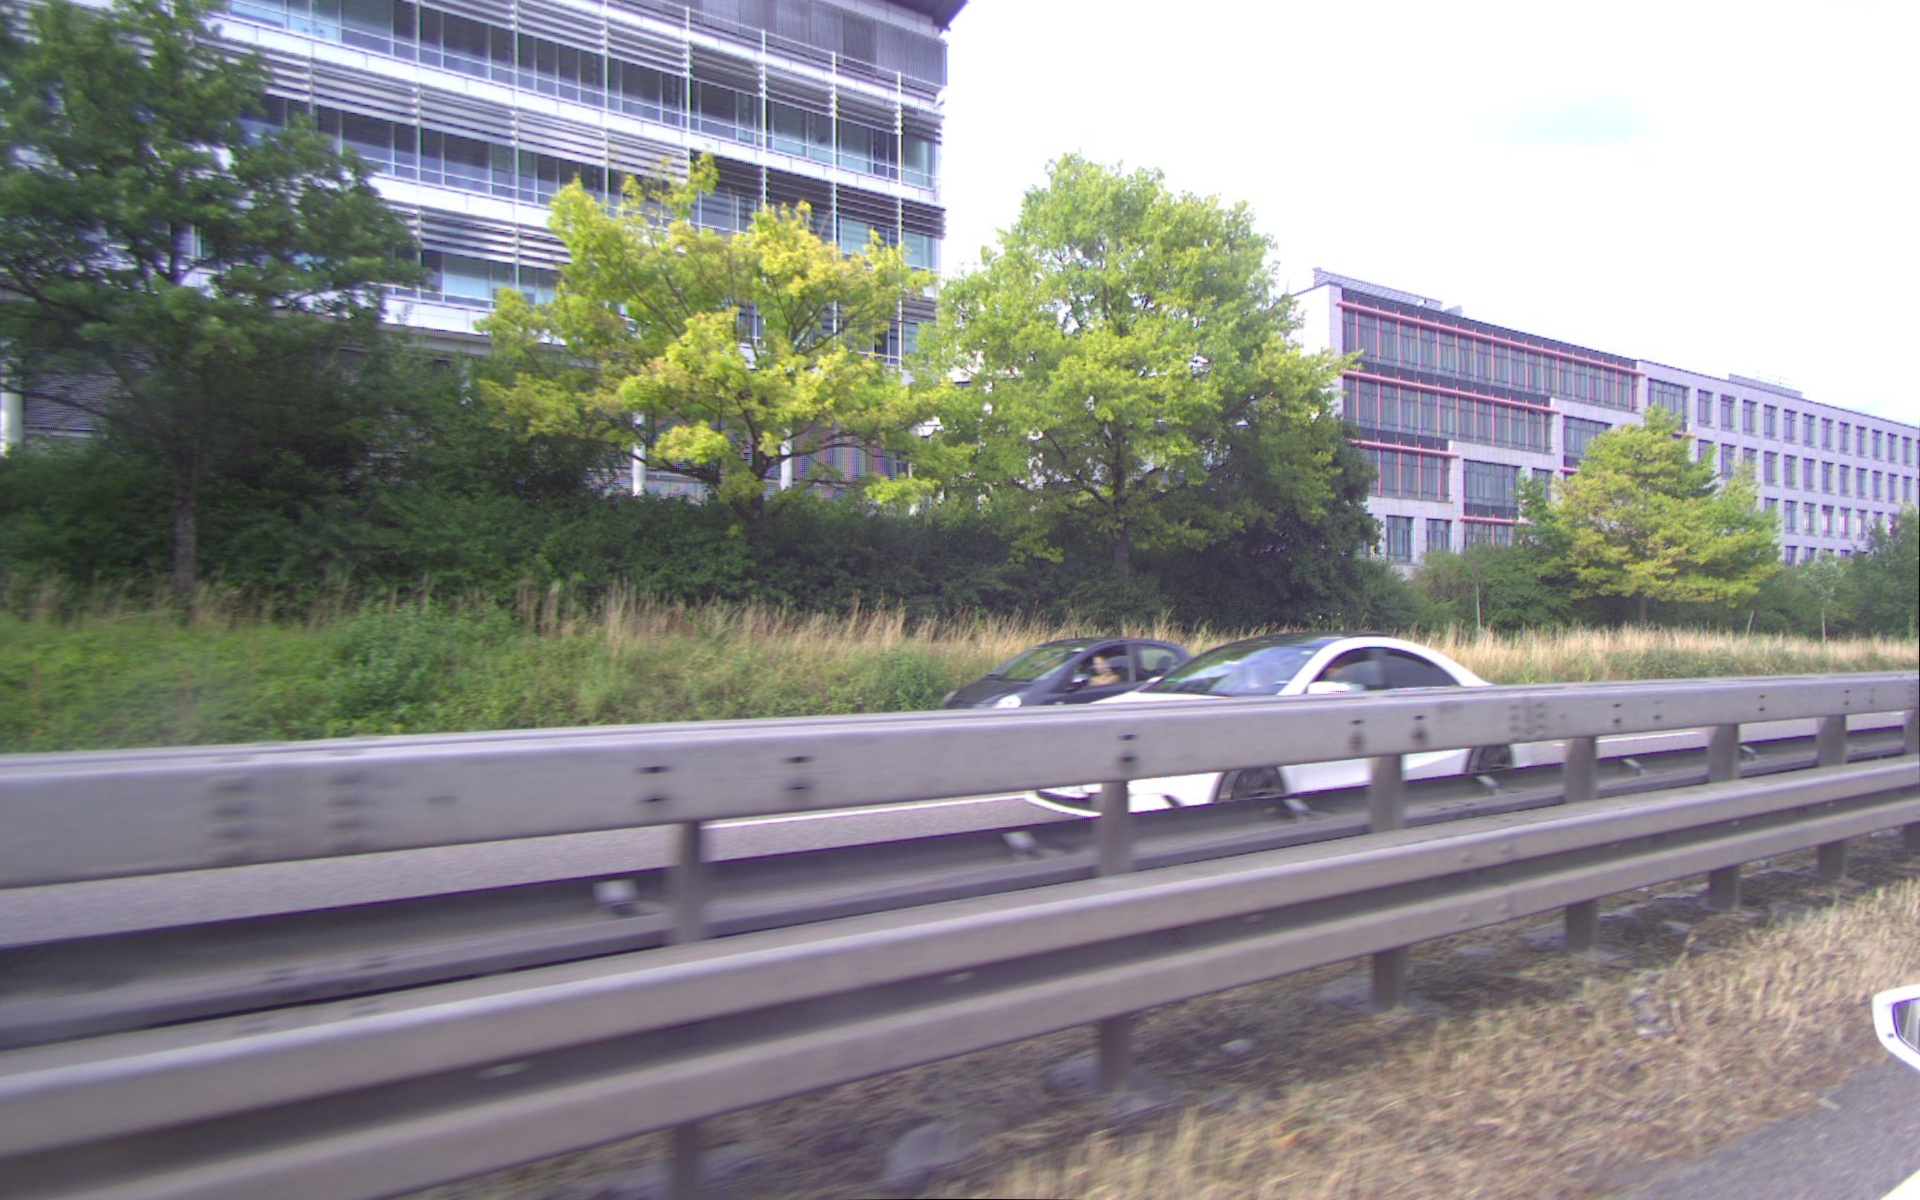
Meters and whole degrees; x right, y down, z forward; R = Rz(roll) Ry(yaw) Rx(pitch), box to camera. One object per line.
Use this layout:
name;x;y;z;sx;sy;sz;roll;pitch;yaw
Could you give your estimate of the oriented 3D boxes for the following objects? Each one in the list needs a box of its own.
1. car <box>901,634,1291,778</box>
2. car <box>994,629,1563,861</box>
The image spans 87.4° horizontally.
car;1.695;1.144;12.033;4.512;1.441;1.749;1;-3;-30
car;2.652;0.946;8.038;4.514;1.397;1.826;1;-3;-31
